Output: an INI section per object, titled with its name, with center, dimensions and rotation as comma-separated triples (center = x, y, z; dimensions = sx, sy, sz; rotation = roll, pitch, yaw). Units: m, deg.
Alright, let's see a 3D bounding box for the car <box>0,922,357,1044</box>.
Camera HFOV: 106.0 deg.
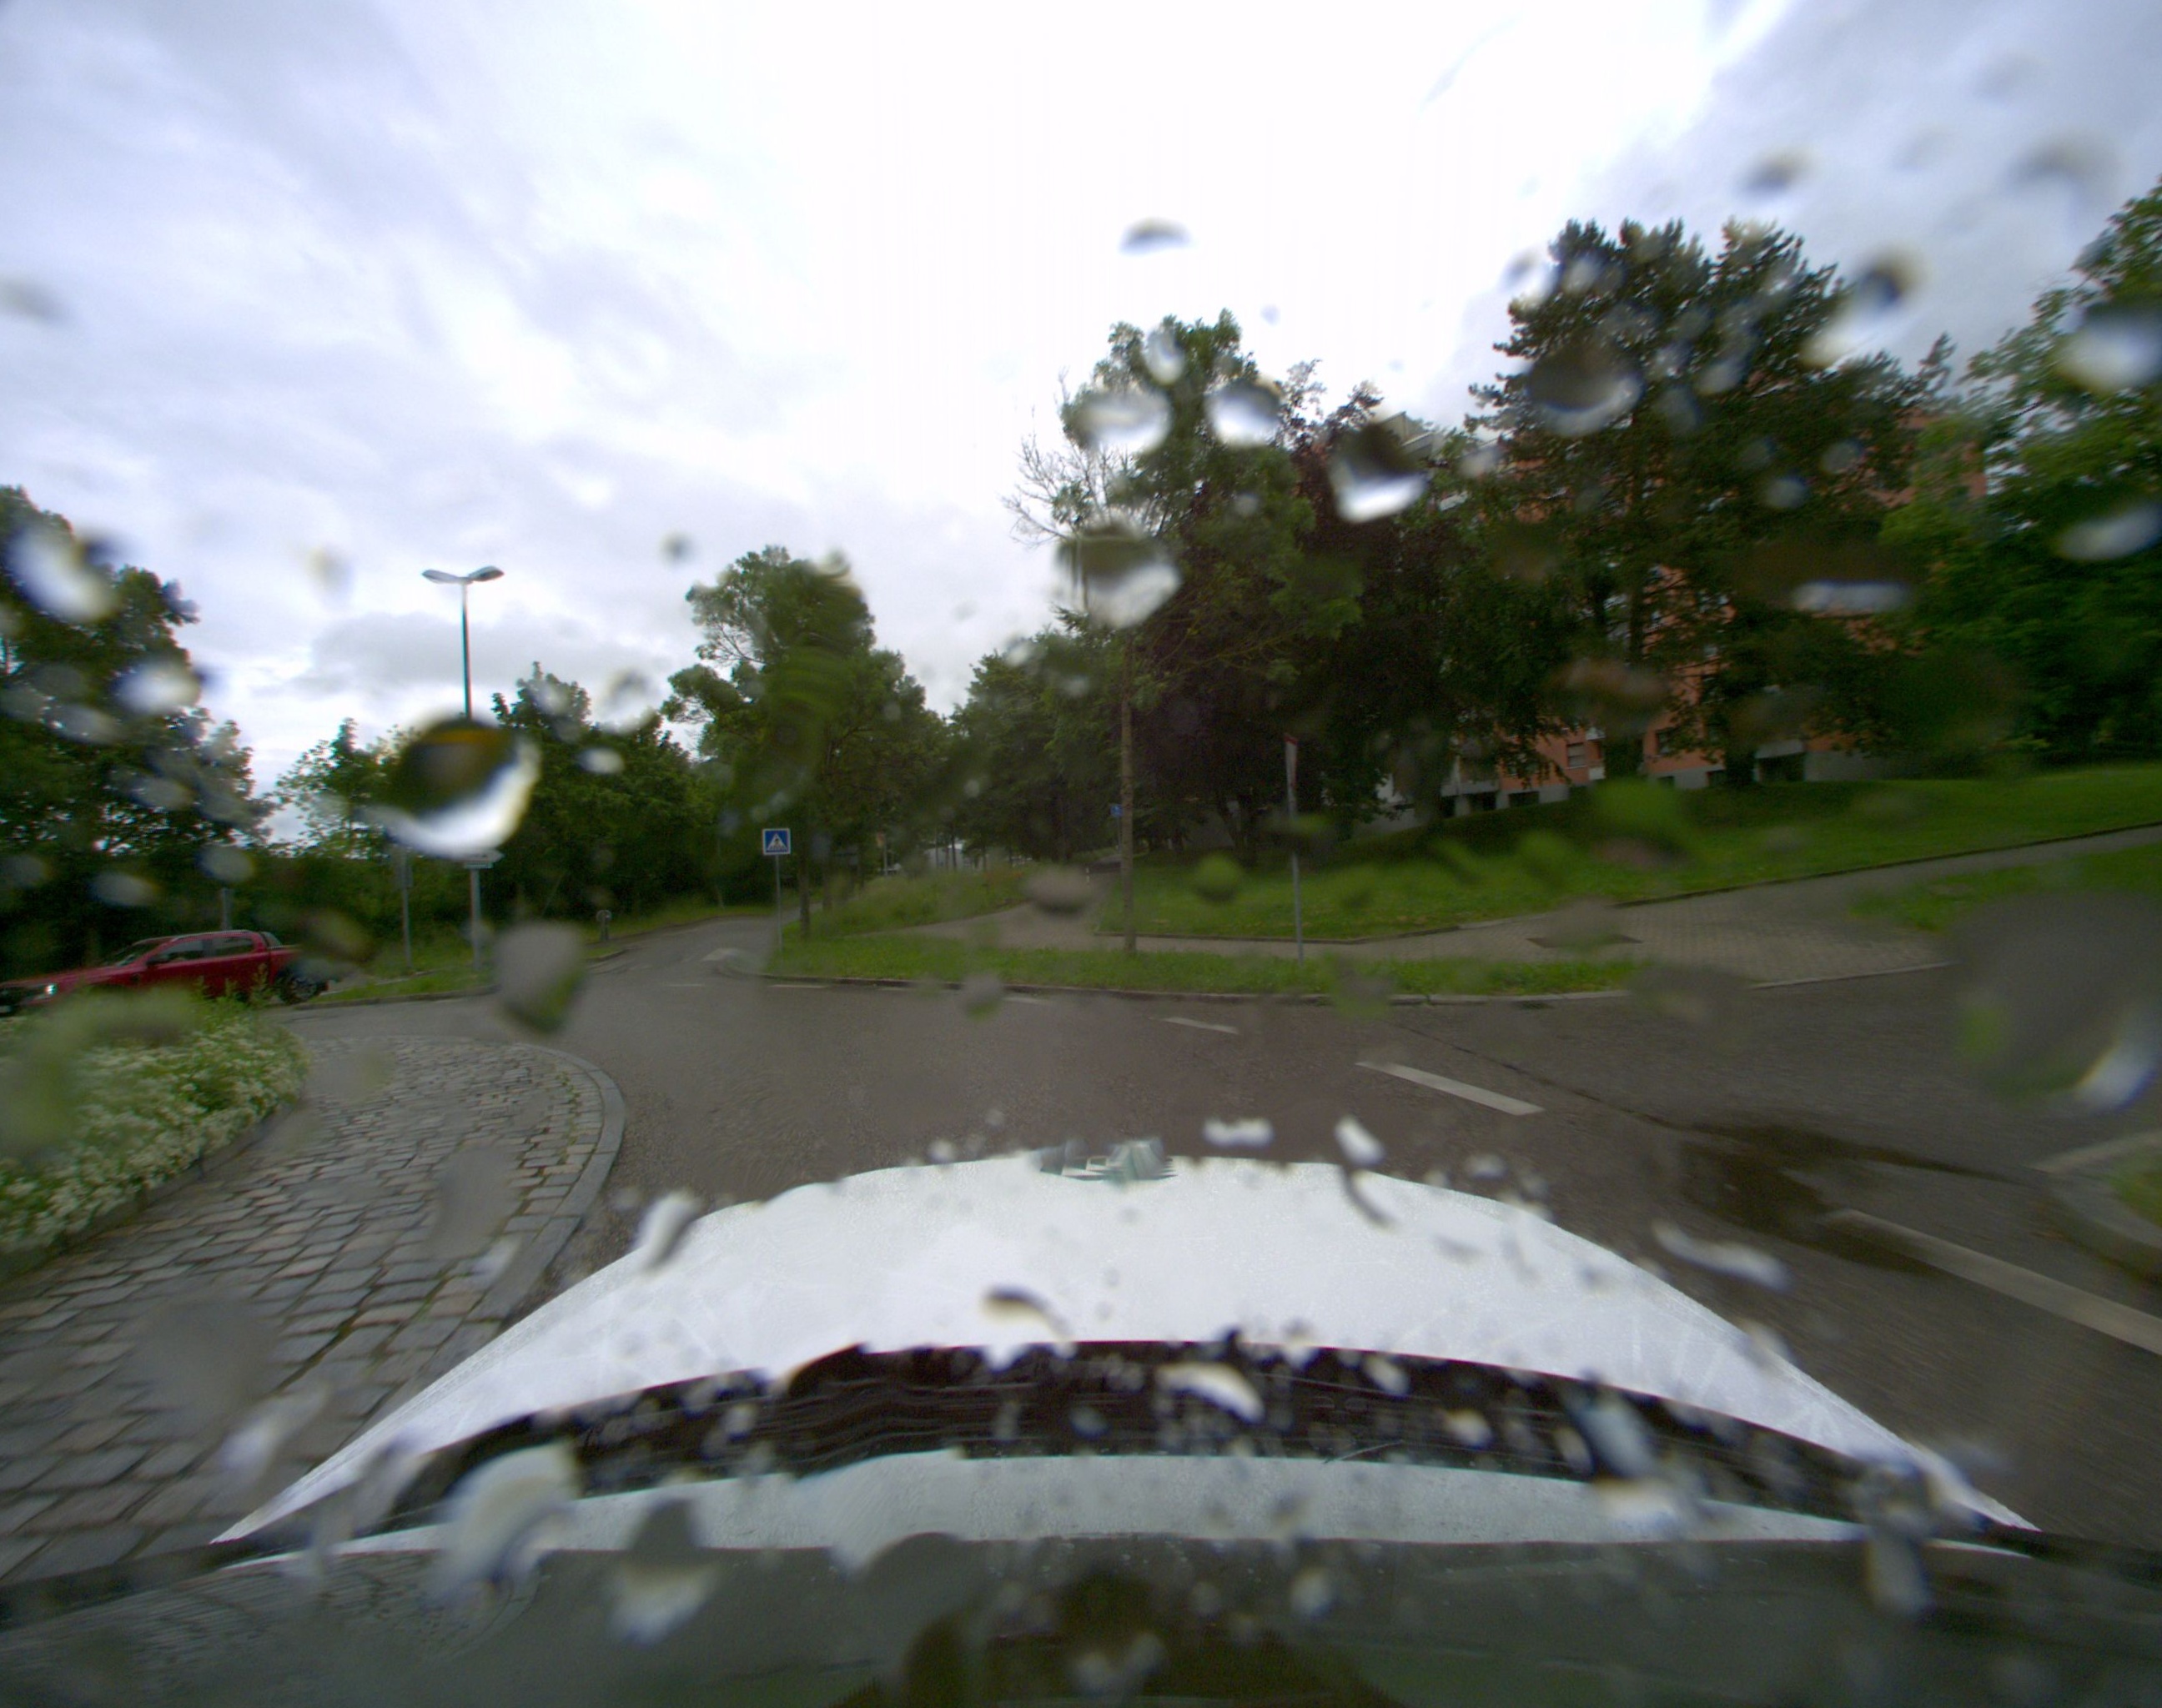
[car]
center = -19.680, 2.689, 18.009
dimensions = 1.979, 1.795, 5.131
rotation = -5, -1, 15
